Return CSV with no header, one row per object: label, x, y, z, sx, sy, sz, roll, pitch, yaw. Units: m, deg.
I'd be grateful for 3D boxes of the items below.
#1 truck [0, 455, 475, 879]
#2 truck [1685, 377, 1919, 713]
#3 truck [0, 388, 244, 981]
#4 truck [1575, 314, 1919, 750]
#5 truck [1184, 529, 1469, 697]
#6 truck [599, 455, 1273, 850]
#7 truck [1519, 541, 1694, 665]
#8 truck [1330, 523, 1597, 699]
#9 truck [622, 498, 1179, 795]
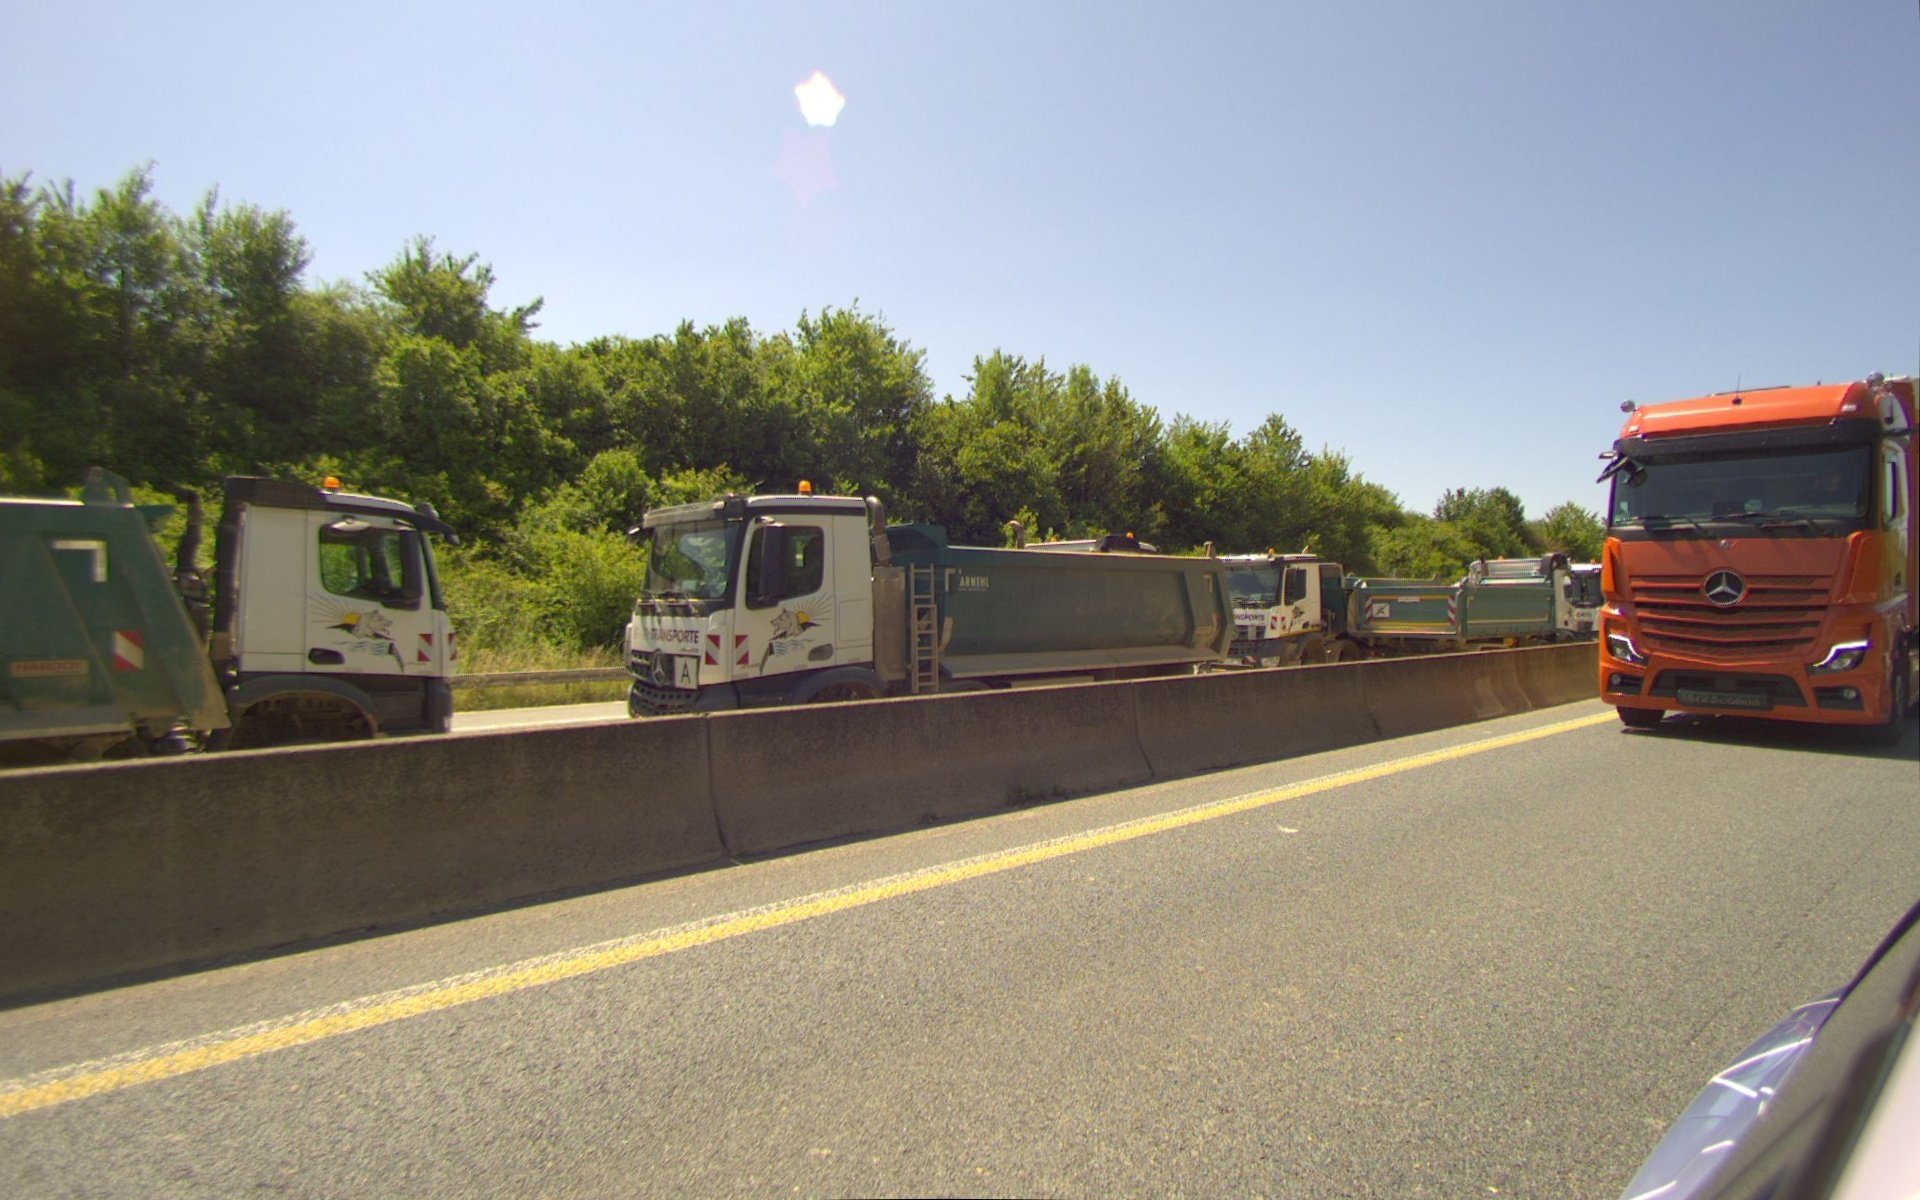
truck,-9.471,0.543,8.462,9.434,3.420,2.692,0,0,-41
truck,15.878,-0.735,17.269,12.987,4.061,2.687,-1,0,-41
truck,-9.282,0.523,4.954,9.241,3.602,2.692,0,0,-41
truck,10.383,-0.668,12.603,6.607,4.061,2.687,-1,0,-40
truck,9.668,0.260,25.906,9.436,3.602,2.691,0,0,-42
truck,0.387,0.462,13.389,9.436,3.602,2.691,0,0,-42
truck,21.233,0.064,32.967,8.789,3.555,2.537,0,0,-42
truck,12.634,0.213,24.798,9.436,3.602,2.542,0,0,-42
truck,-0.378,0.549,16.436,9.436,3.602,2.691,0,0,-42
